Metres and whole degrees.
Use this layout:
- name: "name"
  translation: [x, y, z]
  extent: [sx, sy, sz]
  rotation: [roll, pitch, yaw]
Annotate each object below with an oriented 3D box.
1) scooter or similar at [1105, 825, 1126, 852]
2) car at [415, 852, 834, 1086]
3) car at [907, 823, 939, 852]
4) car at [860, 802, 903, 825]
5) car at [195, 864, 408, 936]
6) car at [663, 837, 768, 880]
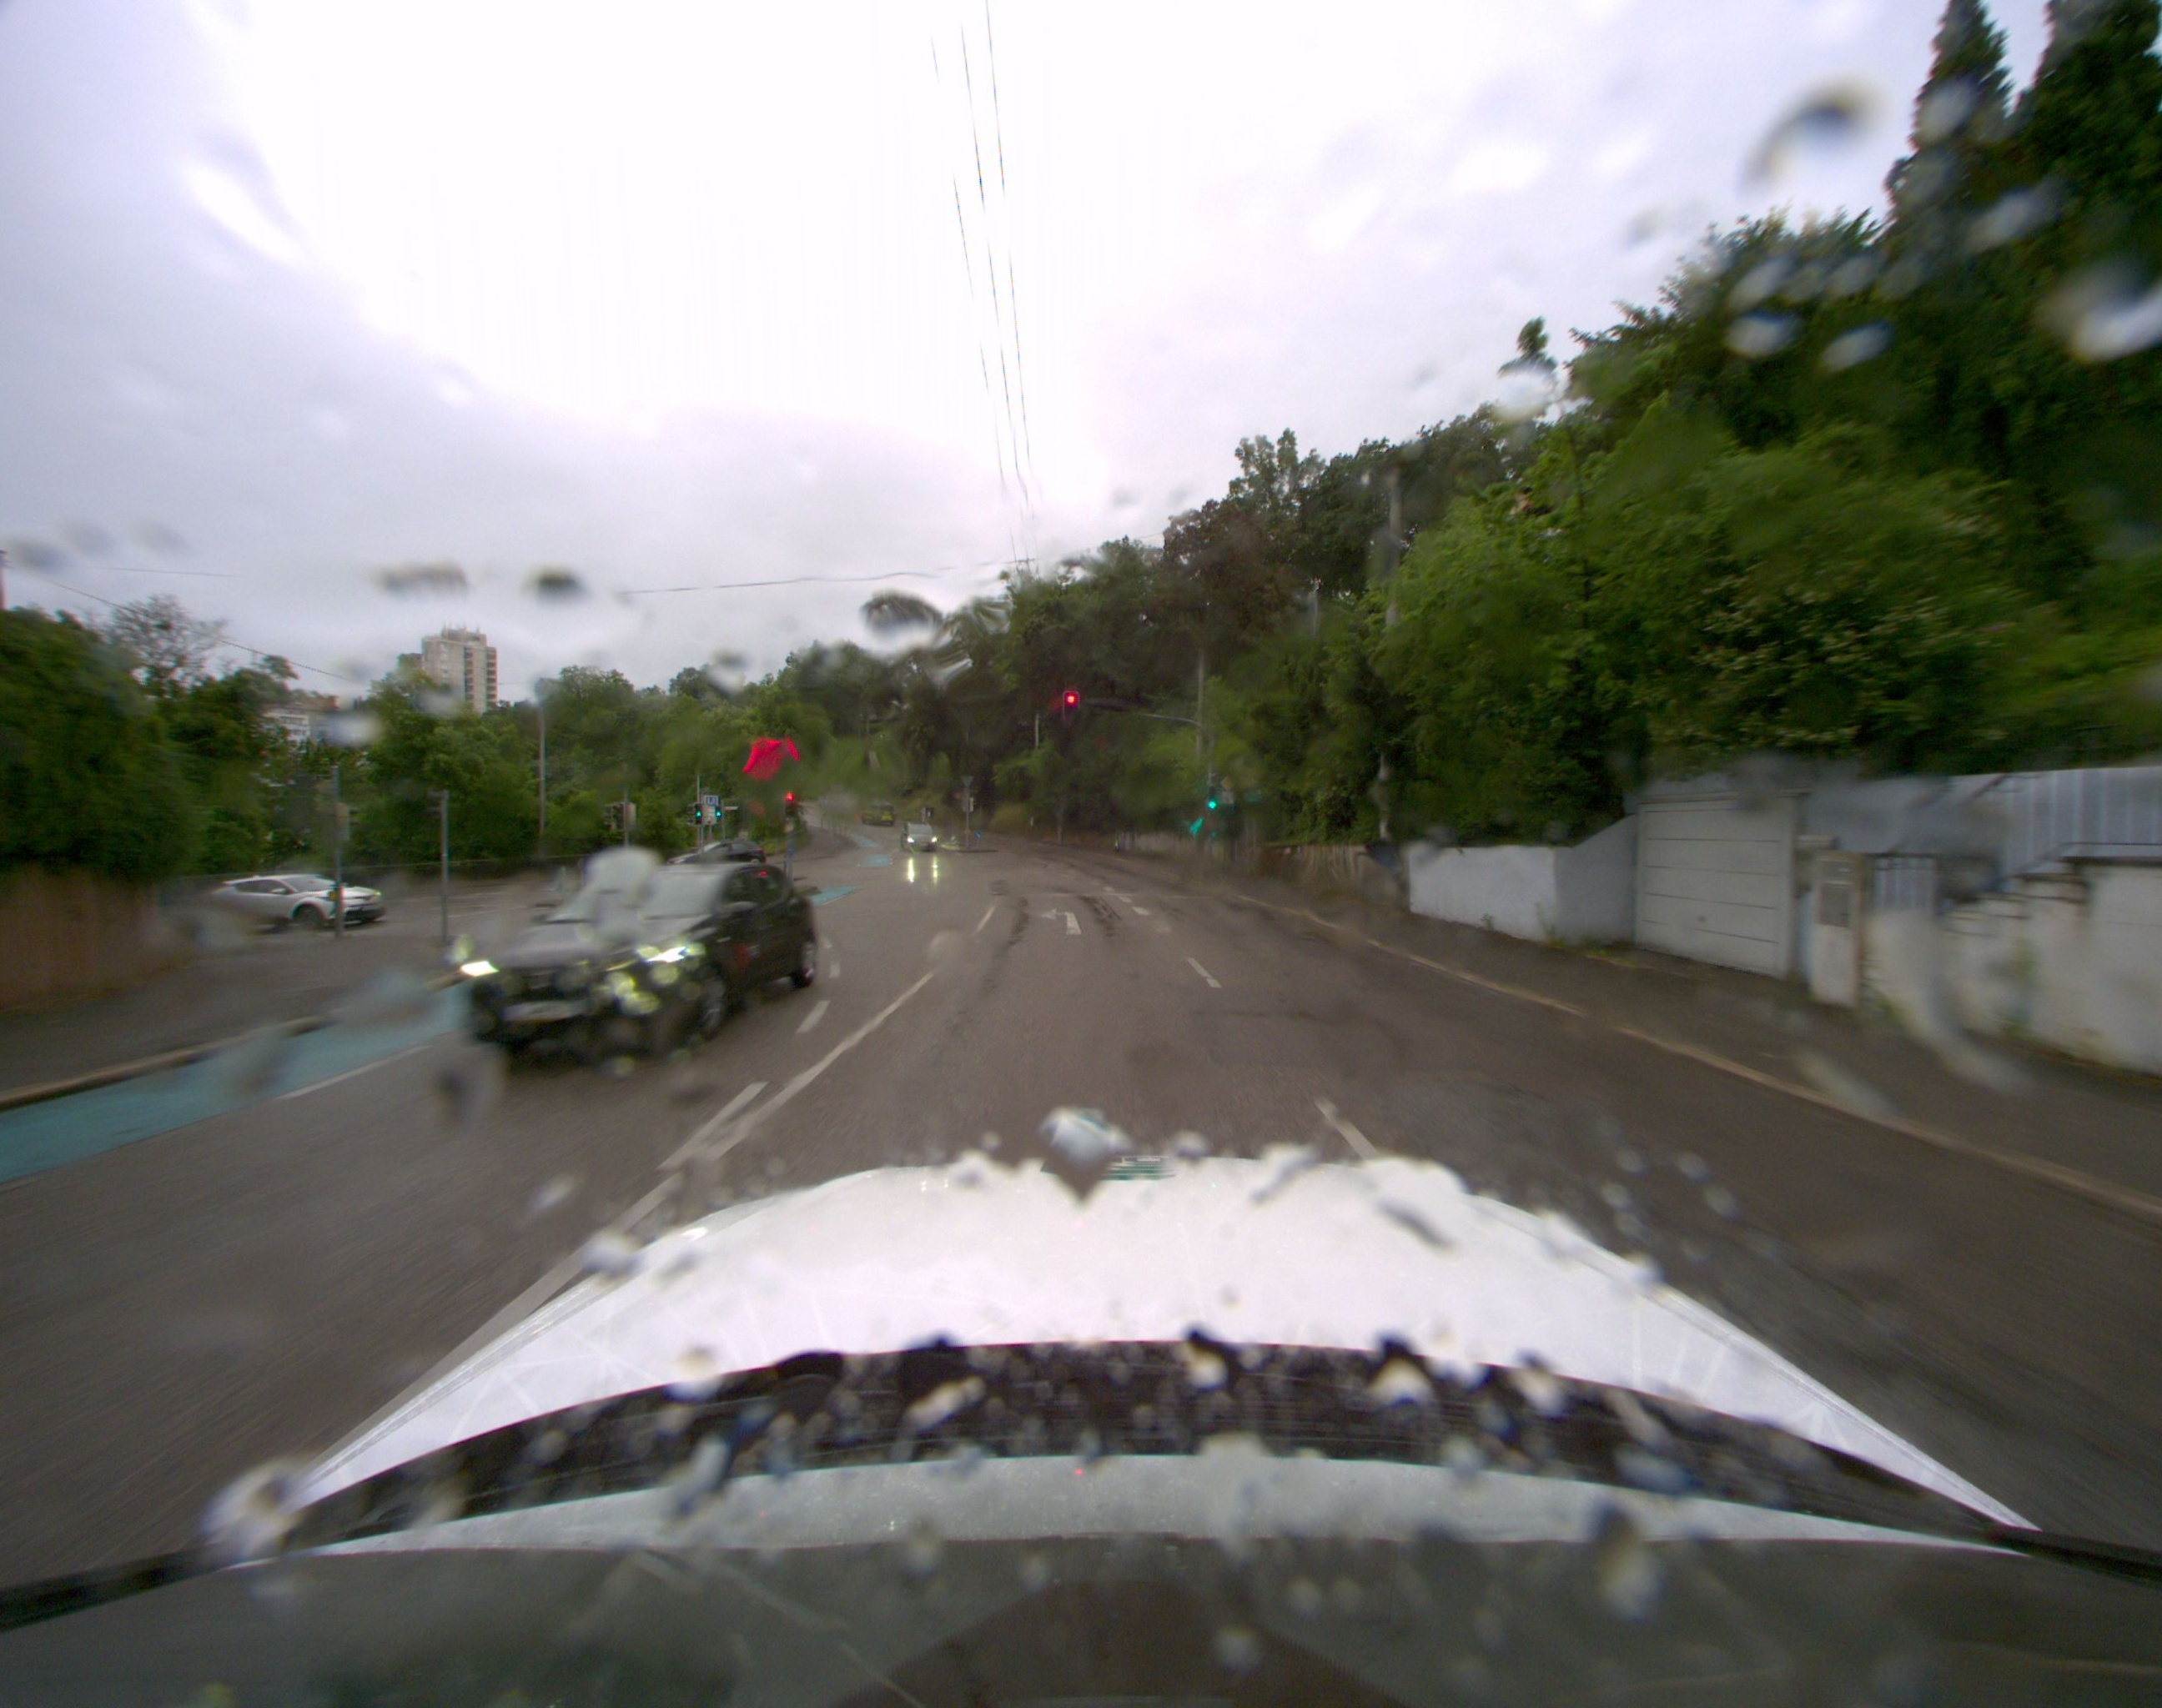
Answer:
- name: "scooter or similar"
  translation: [1.963, -0.896, 46.622]
  extent: [0.617, 1.421, 2.150]
  rotation: [-2, 5, -13]
- name: "car"
  translation: [-3.871, 0.816, 7.836]
  extent: [1.736, 1.550, 3.999]
  rotation: [-3, 1, -1]
- name: "car"
  translation: [-9.605, -1.044, 49.397]
  extent: [1.742, 1.549, 3.985]
  rotation: [-3, 3, -12]
- name: "car"
  translation: [-18.417, -3.701, 75.070]
  extent: [2.326, 1.939, 4.279]
  rotation: [-5, 4, -35]
- name: "car"
  translation: [-22.074, 1.288, 23.196]
  extent: [4.130, 1.673, 2.004]
  rotation: [-2, 4, 5]
- name: "car"
  translation: [-16.717, 0.165, 37.378]
  extent: [4.022, 1.549, 1.726]
  rotation: [-6, 7, -41]
